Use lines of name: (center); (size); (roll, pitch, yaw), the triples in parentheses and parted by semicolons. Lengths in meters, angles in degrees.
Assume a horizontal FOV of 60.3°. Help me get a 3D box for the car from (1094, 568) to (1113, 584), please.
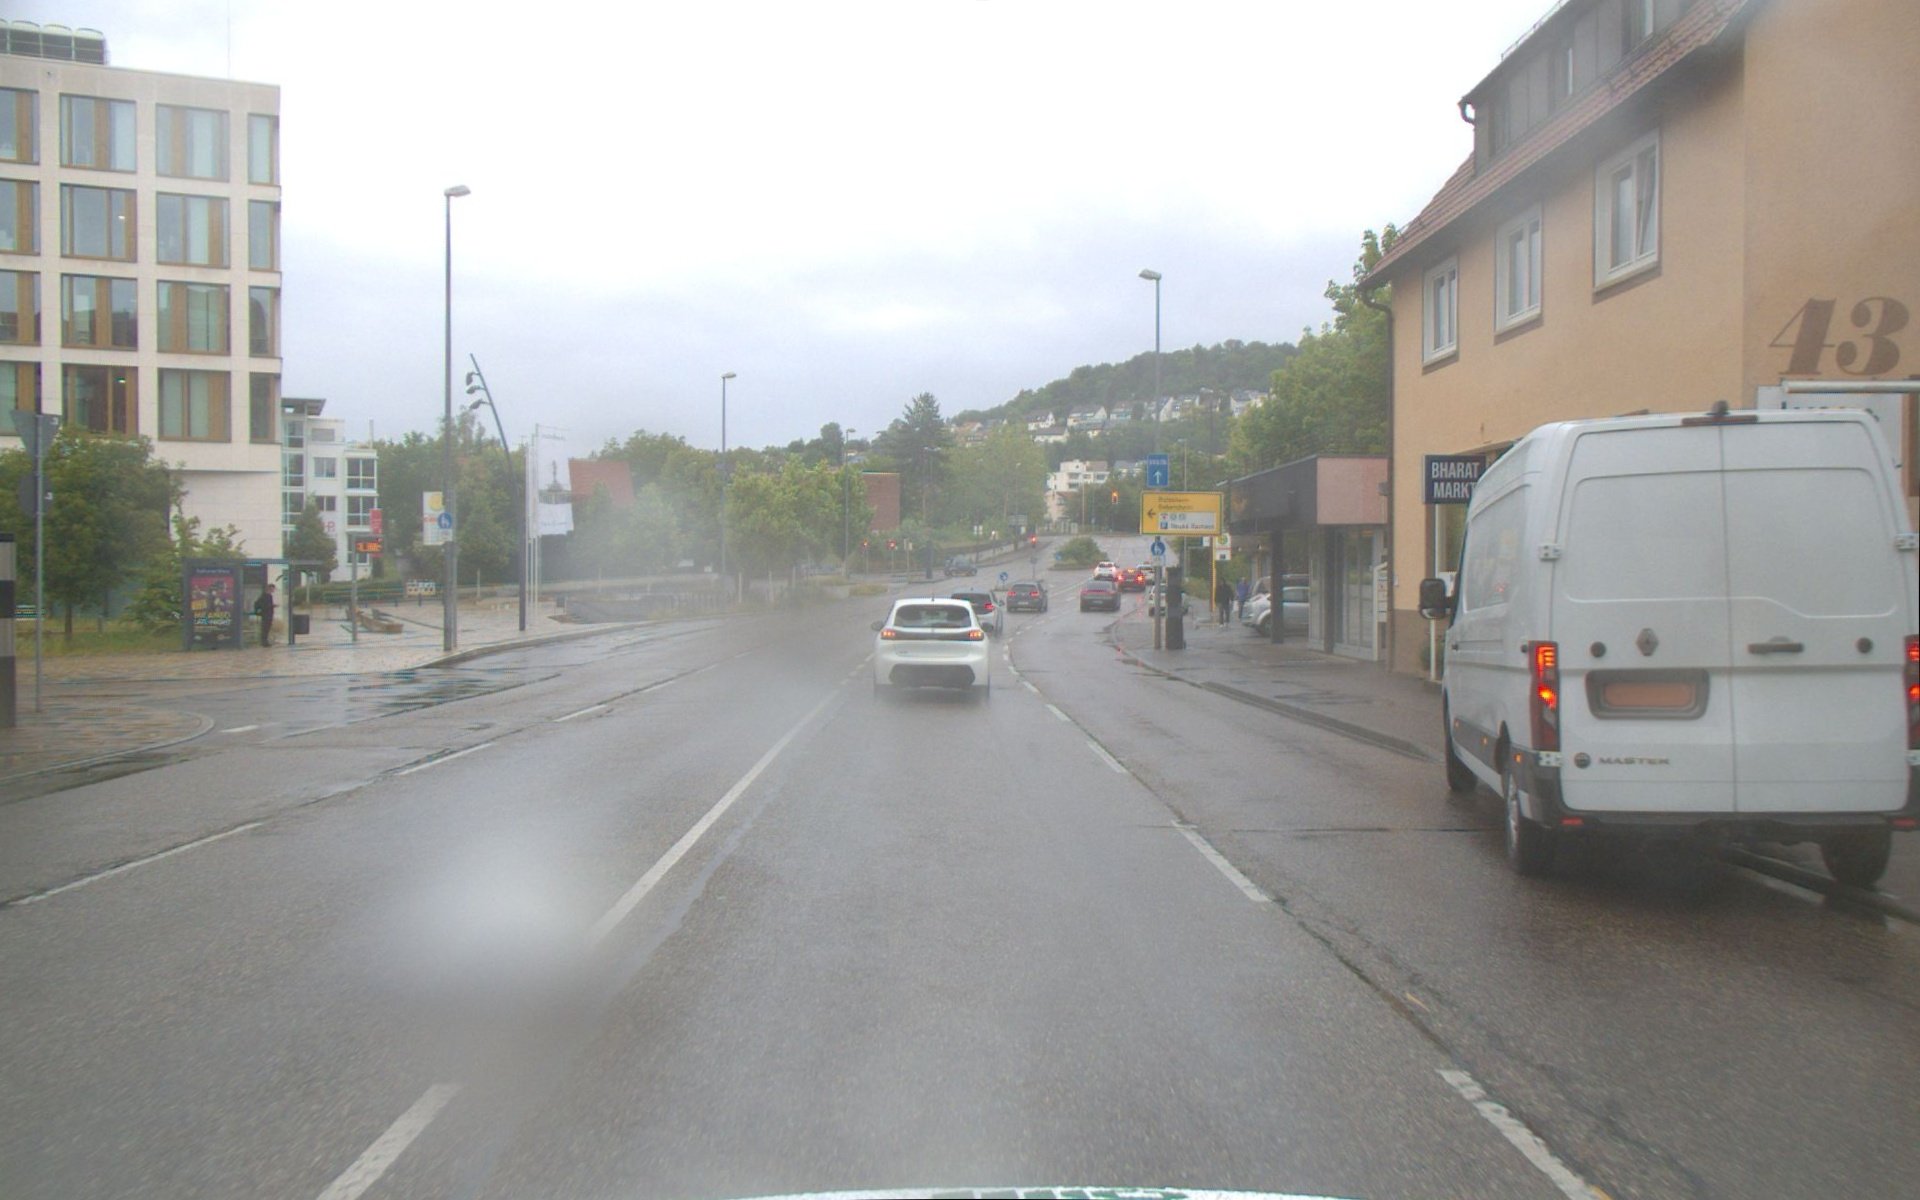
car: (11.209, -1.843, 128.978); (1.356, 1.146, 2.611); (-1, -1, 2)

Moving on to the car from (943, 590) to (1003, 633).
car: (0.450, 0.361, 53.567); (1.705, 1.318, 3.335); (-1, 0, 4)

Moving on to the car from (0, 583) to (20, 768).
car: (-9.111, 0.685, 12.444); (1.555, 1.610, 4.470); (-1, 0, -1)

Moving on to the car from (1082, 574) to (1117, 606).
car: (7.181, -0.539, 85.462); (1.697, 1.411, 3.355); (1, 4, 4)

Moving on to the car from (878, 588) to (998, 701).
car: (-0.327, 0.666, 24.852); (1.656, 1.546, 3.932); (0, -2, -1)

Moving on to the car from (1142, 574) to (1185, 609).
car: (9.740, -0.426, 79.087); (1.693, 1.523, 4.485); (-2, 1, 11)

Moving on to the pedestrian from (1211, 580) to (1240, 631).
pedestrian: (9.795, 0.205, 61.113); (0.699, 1.853, 0.790); (0, -1, -27)

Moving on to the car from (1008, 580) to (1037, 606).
car: (3.071, -0.342, 81.197); (1.187, 1.176, 2.272); (-1, -1, 7)

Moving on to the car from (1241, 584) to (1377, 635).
car: (10.738, 0.281, 51.144); (3.903, 1.472, 1.747); (-1, 1, 4)

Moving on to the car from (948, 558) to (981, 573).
car: (0.371, -2.894, 139.712); (2.391, 1.177, 1.358); (0, -1, -28)

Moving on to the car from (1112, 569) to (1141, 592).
car: (11.593, -1.344, 115.429); (1.614, 1.511, 3.365); (-1, -1, -1)

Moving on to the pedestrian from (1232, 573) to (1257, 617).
pedestrian: (11.588, -0.209, 67.449); (0.857, 1.767, 0.760); (-2, 1, 1)

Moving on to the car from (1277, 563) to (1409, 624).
car: (12.639, -0.220, 54.744); (4.008, 1.903, 1.877); (-1, 1, 4)

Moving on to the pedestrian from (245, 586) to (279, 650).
pedestrian: (-19.429, 0.499, 46.053); (0.769, 1.776, 0.671); (-1, -1, -15)

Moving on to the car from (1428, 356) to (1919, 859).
car: (4.601, 0.098, 11.368); (2.242, 2.424, 6.630); (-1, -1, 13)
